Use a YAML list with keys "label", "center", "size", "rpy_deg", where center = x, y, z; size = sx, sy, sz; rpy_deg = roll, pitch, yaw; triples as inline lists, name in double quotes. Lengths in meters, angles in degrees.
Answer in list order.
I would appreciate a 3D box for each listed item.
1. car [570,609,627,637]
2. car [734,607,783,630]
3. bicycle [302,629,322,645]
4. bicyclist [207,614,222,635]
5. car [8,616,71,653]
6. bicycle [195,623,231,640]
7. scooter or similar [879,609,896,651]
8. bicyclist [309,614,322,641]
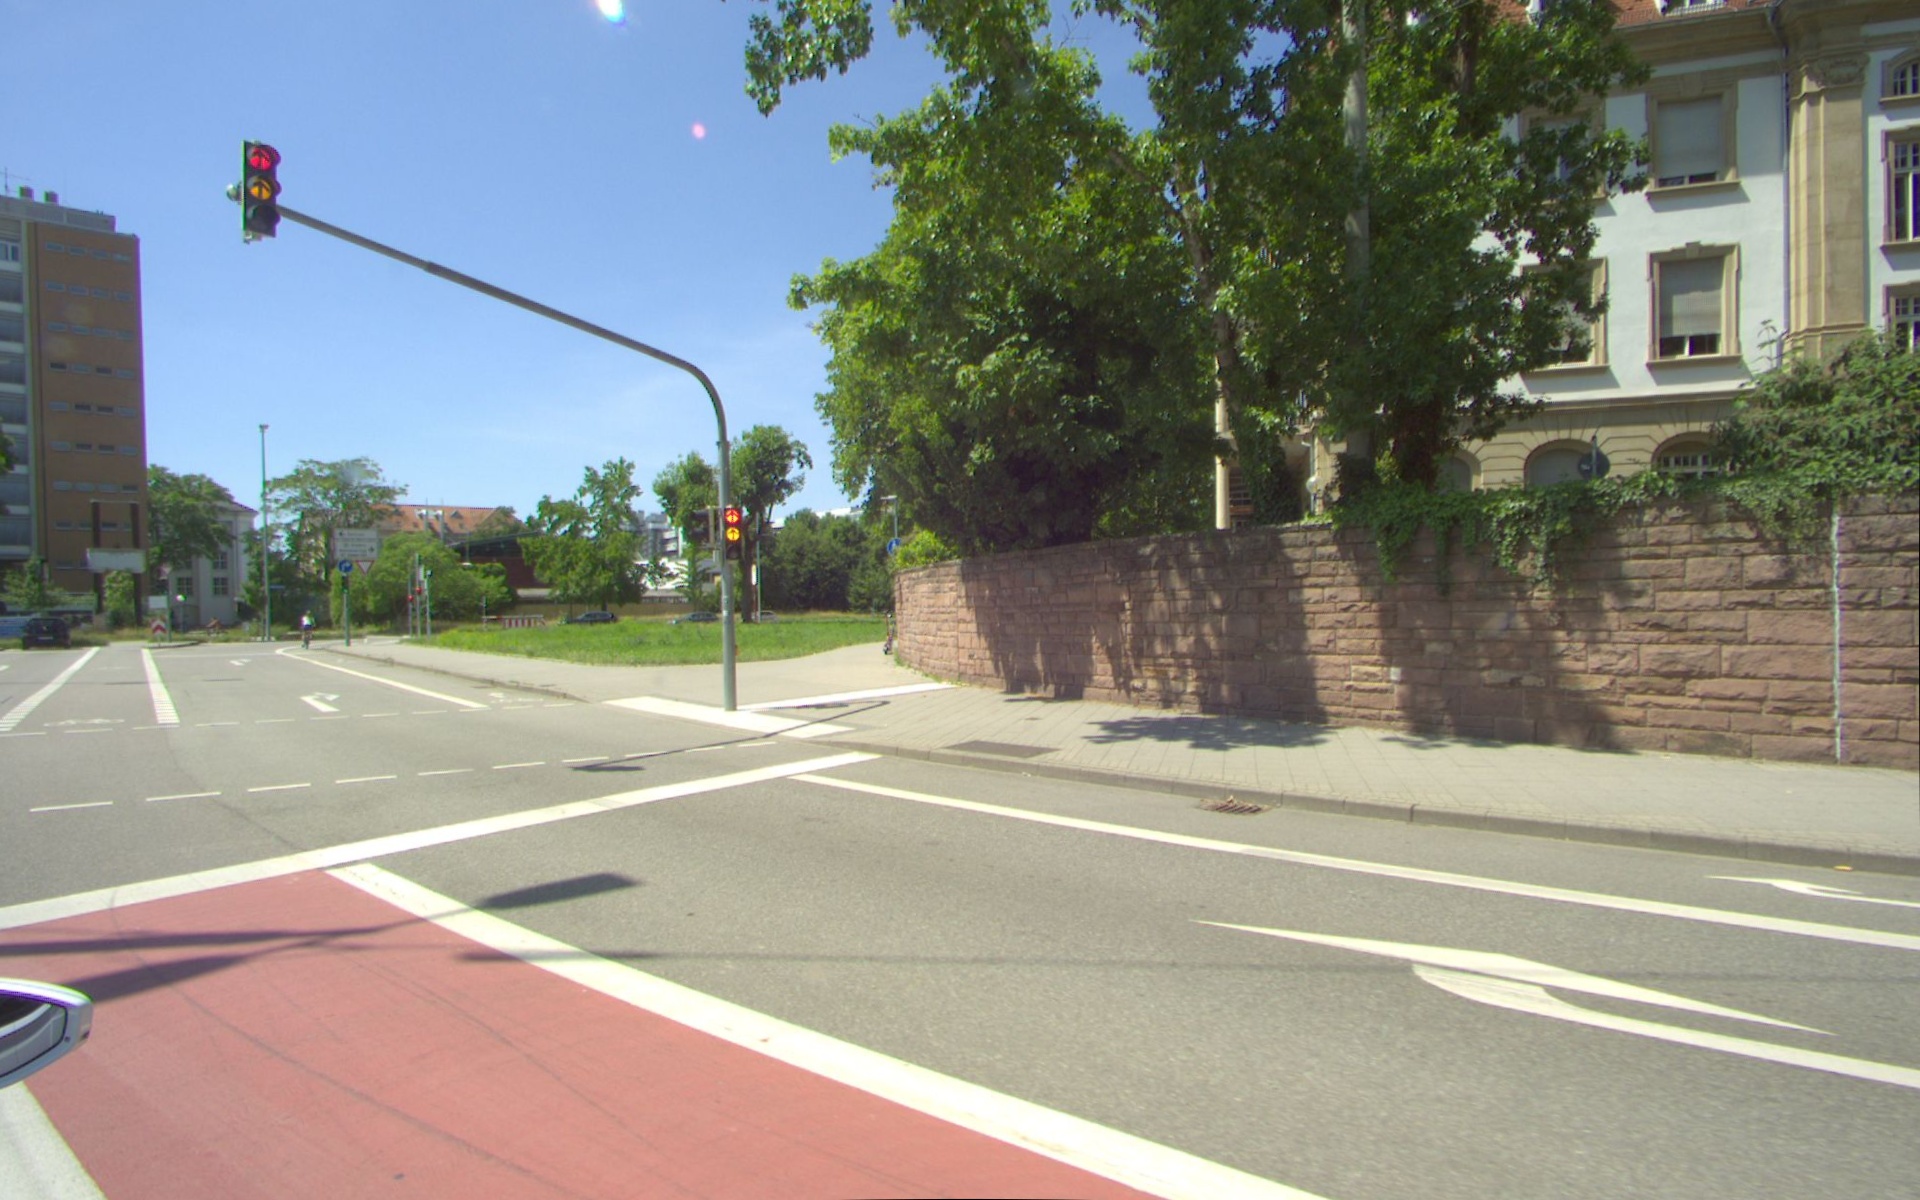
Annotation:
- label: "car"
  center: [-28.509, 1.818, 79.112]
  size: [3.951, 2.040, 1.459]
  rpy_deg: [-1, -1, -38]
- label: "car"
  center: [-17.628, 1.591, 87.825]
  size: [3.951, 1.895, 1.459]
  rpy_deg: [-1, -1, -38]
- label: "bicycle"
  center: [-29.874, 1.697, 46.167]
  size: [0.371, 0.654, 1.640]
  rpy_deg: [-1, 0, -19]
- label: "bicyclist"
  center: [-53.739, 1.760, 72.187]
  size: [0.676, 1.508, 0.780]
  rpy_deg: [-2, 0, -29]
- label: "car"
  center: [-42.058, 1.550, 45.738]
  size: [3.647, 1.547, 1.680]
  rpy_deg: [-1, 0, 41]
- label: "bicycle"
  center: [-53.827, 2.261, 72.131]
  size: [1.983, 1.150, 0.571]
  rpy_deg: [-1, 0, -29]
- label: "scooter or similar"
  center: [-2.066, 0.844, 28.641]
  size: [0.269, 1.178, 1.467]
  rpy_deg: [-2, -1, 4]
- label: "bicyclist"
  center: [-29.780, 1.267, 46.277]
  size: [0.347, 1.244, 0.562]
  rpy_deg: [-1, 1, -20]
